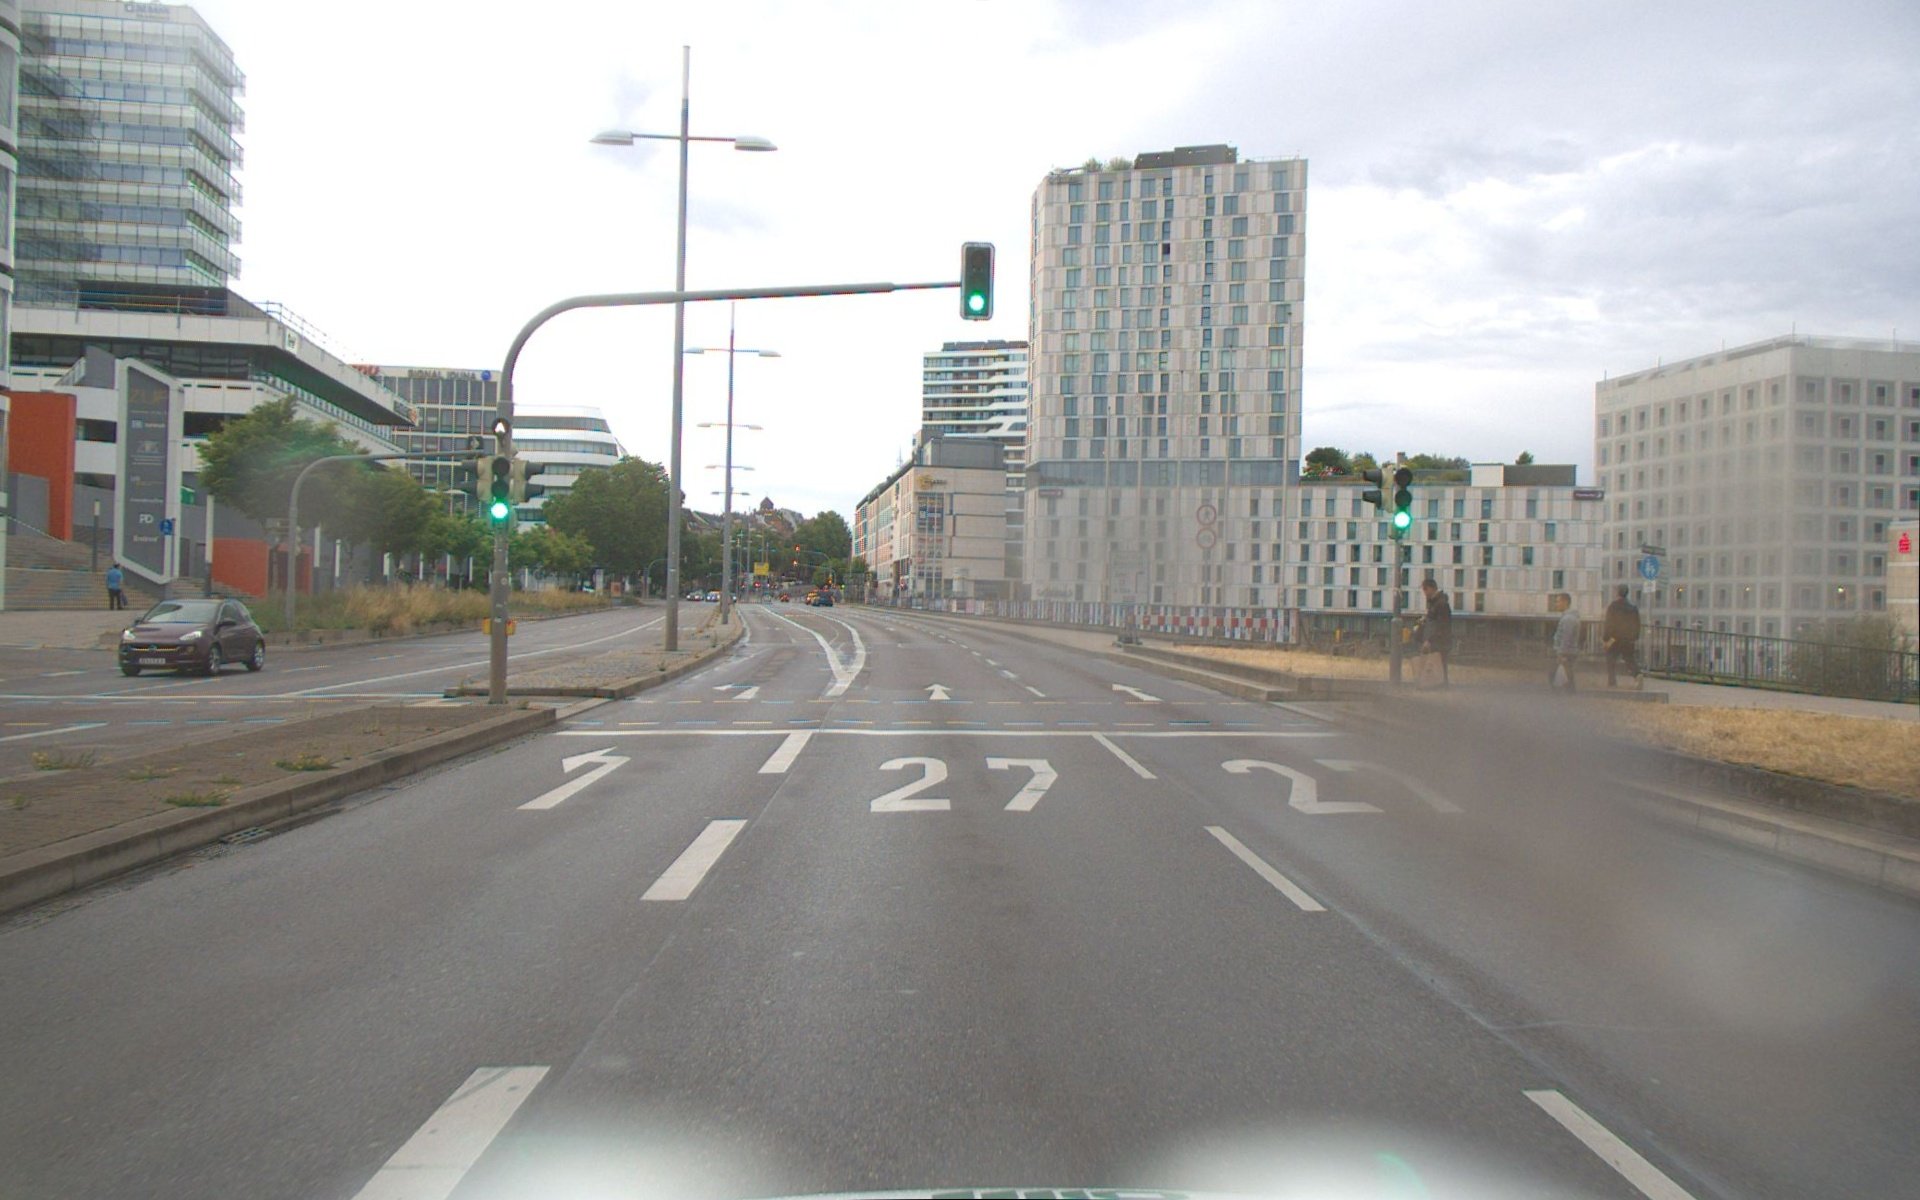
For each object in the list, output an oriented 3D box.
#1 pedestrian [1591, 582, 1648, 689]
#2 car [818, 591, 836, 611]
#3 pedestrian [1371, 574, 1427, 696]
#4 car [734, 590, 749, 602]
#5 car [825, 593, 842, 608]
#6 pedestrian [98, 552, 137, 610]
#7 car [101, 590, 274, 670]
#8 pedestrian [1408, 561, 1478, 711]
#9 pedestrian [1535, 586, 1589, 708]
[{"bbox_3d":[10.137,0.526,25.433,0.657,1.605,0.666,1,1,36],"label":"pedestrian"},{"bbox_3d":[-15.858,0.123,197.799,1.953,2.384,3.998,1,0,-2],"label":"car"},{"bbox_3d":[5.907,0.456,22.232,0.540,1.605,0.669,1,1,33],"label":"pedestrian"},{"bbox_3d":[-33.523,-0.610,253.566,1.953,1.814,3.999,0,1,-2],"label":"car"},{"bbox_3d":[-17.315,0.053,226.943,1.952,1.847,4.001,0,1,2],"label":"car"},{"bbox_3d":[-30.128,-0.673,59.133,1.009,2.048,0.715,0,1,-2],"label":"pedestrian"},{"bbox_3d":[-14.909,0.541,32.142,1.713,1.432,3.724,0,1,-2],"label":"car"},{"bbox_3d":[6.150,0.438,21.043,0.542,1.873,0.777,1,2,45],"label":"pedestrian"},{"bbox_3d":[8.175,0.627,22.453,0.540,1.605,0.669,1,1,33],"label":"pedestrian"}]
